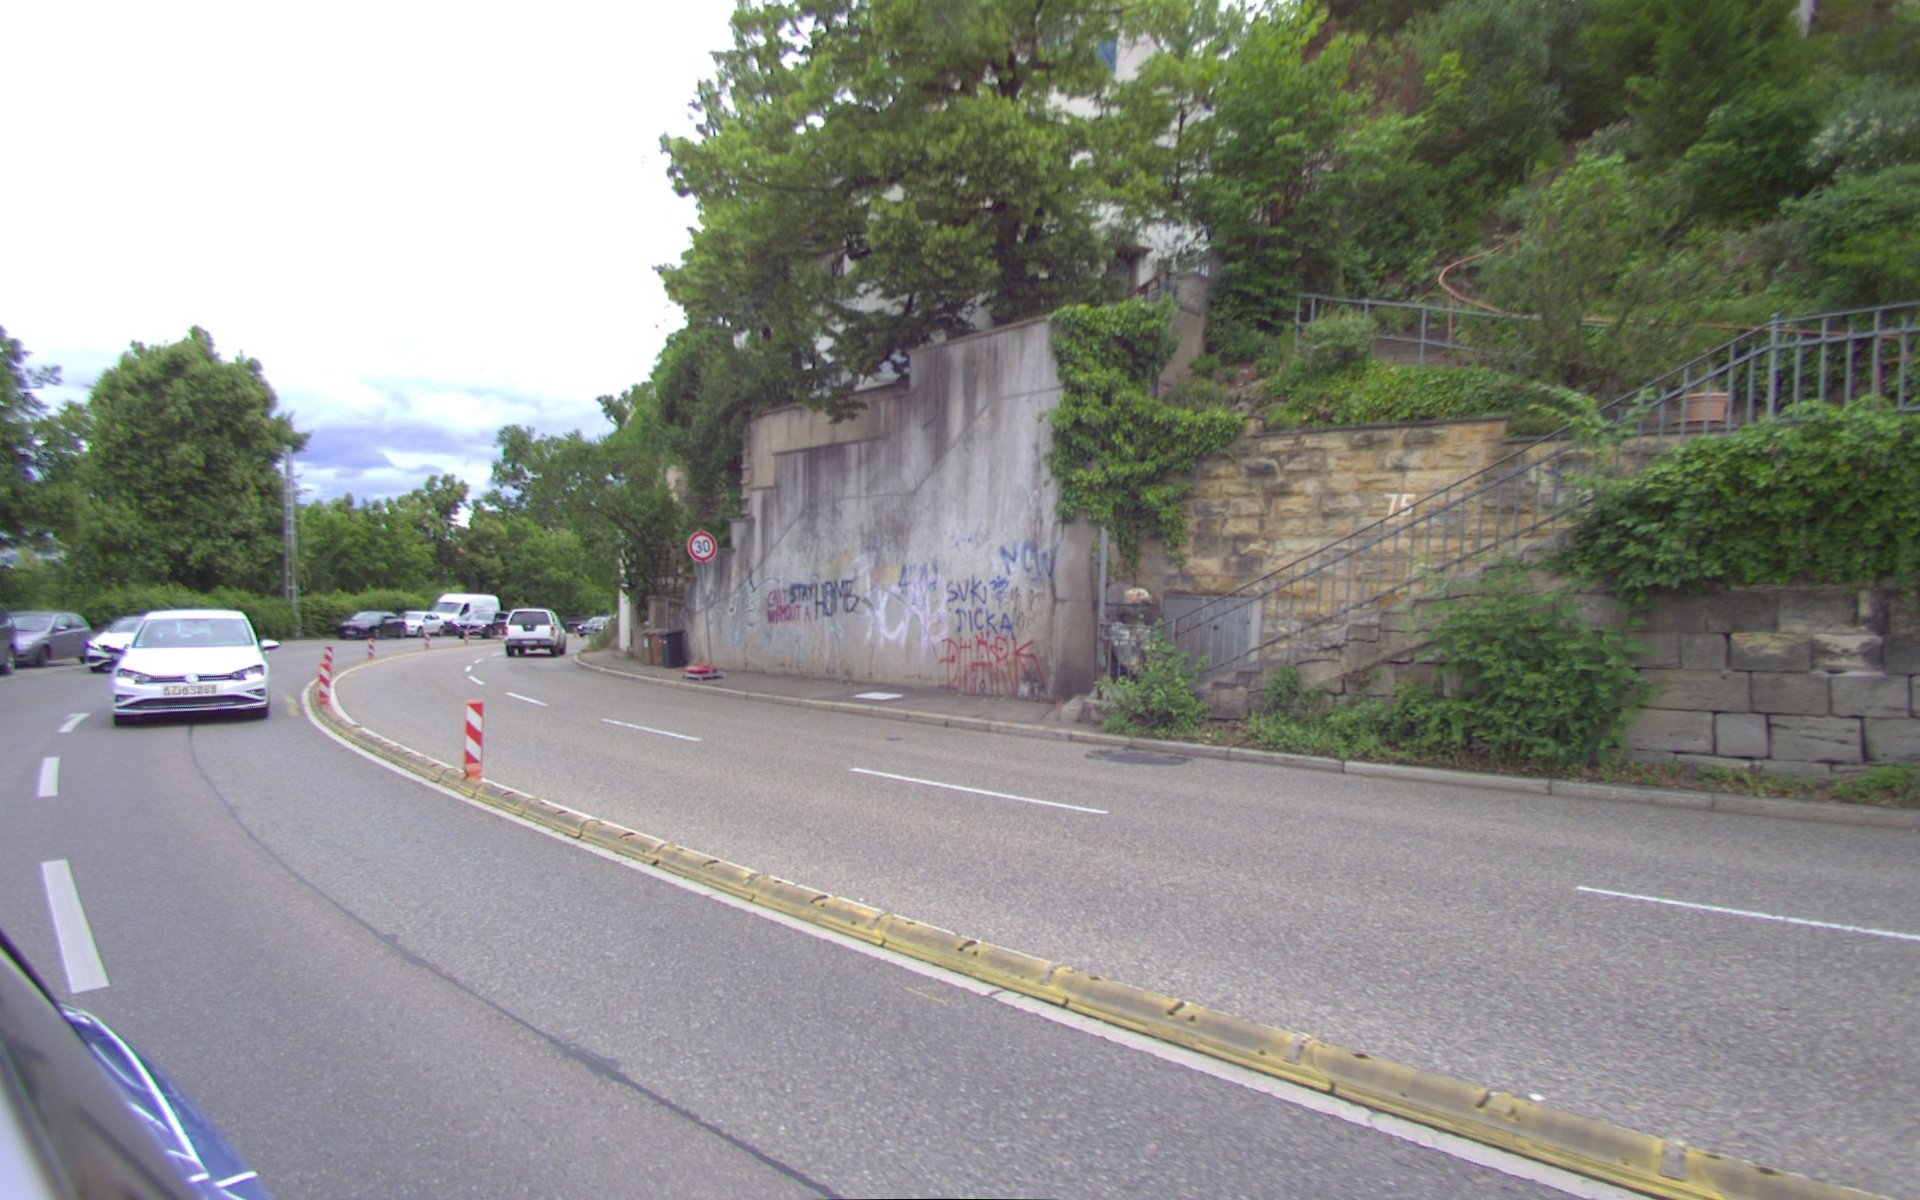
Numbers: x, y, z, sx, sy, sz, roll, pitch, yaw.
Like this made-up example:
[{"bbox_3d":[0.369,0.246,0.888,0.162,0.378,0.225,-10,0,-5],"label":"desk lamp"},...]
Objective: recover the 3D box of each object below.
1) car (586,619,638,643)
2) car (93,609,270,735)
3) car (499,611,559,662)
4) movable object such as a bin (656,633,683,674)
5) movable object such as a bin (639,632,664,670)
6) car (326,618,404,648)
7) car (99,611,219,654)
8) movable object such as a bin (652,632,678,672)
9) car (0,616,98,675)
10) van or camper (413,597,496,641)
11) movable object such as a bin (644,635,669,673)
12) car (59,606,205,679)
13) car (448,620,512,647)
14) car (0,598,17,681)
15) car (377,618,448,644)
[{"bbox_3d":[-24.986,2.203,72.788,1.903,1.505,4.132,0,1,8],"label":"car"},{"bbox_3d":[-11.490,0.950,15.210,1.796,1.592,4.367,1,-1,-34],"label":"car"},{"bbox_3d":[-16.850,1.389,39.694,1.965,1.842,5.163,2,-2,-22],"label":"car"},{"bbox_3d":[-7.007,1.275,24.400,0.519,0.970,0.461,0,-1,-30],"label":"movable object such as a bin"},{"bbox_3d":[-7.991,1.317,26.208,0.519,0.970,0.431,0,-1,-30],"label":"movable object such as a bin"},{"bbox_3d":[-31.019,1.693,52.920,1.905,1.444,4.102,0,-1,-4],"label":"car"},{"bbox_3d":[-28.860,1.140,36.632,1.902,1.444,4.011,1,-1,-14],"label":"car"},{"bbox_3d":[-7.266,1.266,24.918,0.519,0.970,0.401,0,-1,-30],"label":"movable object such as a bin"},{"bbox_3d":[-24.437,1.138,26.591,1.901,1.444,4.013,0,-1,-28],"label":"car"},{"bbox_3d":[-31.950,1.184,64.179,2.238,2.648,5.414,0,-1,4],"label":"van or camper"},{"bbox_3d":[-7.720,1.365,25.759,0.519,0.937,0.483,0,-1,-30],"label":"movable object such as a bin"},{"bbox_3d":[-21.579,1.092,26.560,1.965,1.731,4.013,3,-2,-25],"label":"car"},{"bbox_3d":[-28.379,1.938,59.974,1.875,1.505,4.140,0,-1,0],"label":"car"},{"bbox_3d":[-21.480,0.828,21.080,1.670,1.846,4.417,3,-2,-30],"label":"car"},{"bbox_3d":[-31.585,1.767,58.517,1.850,1.444,4.098,0,-1,0],"label":"car"}]
